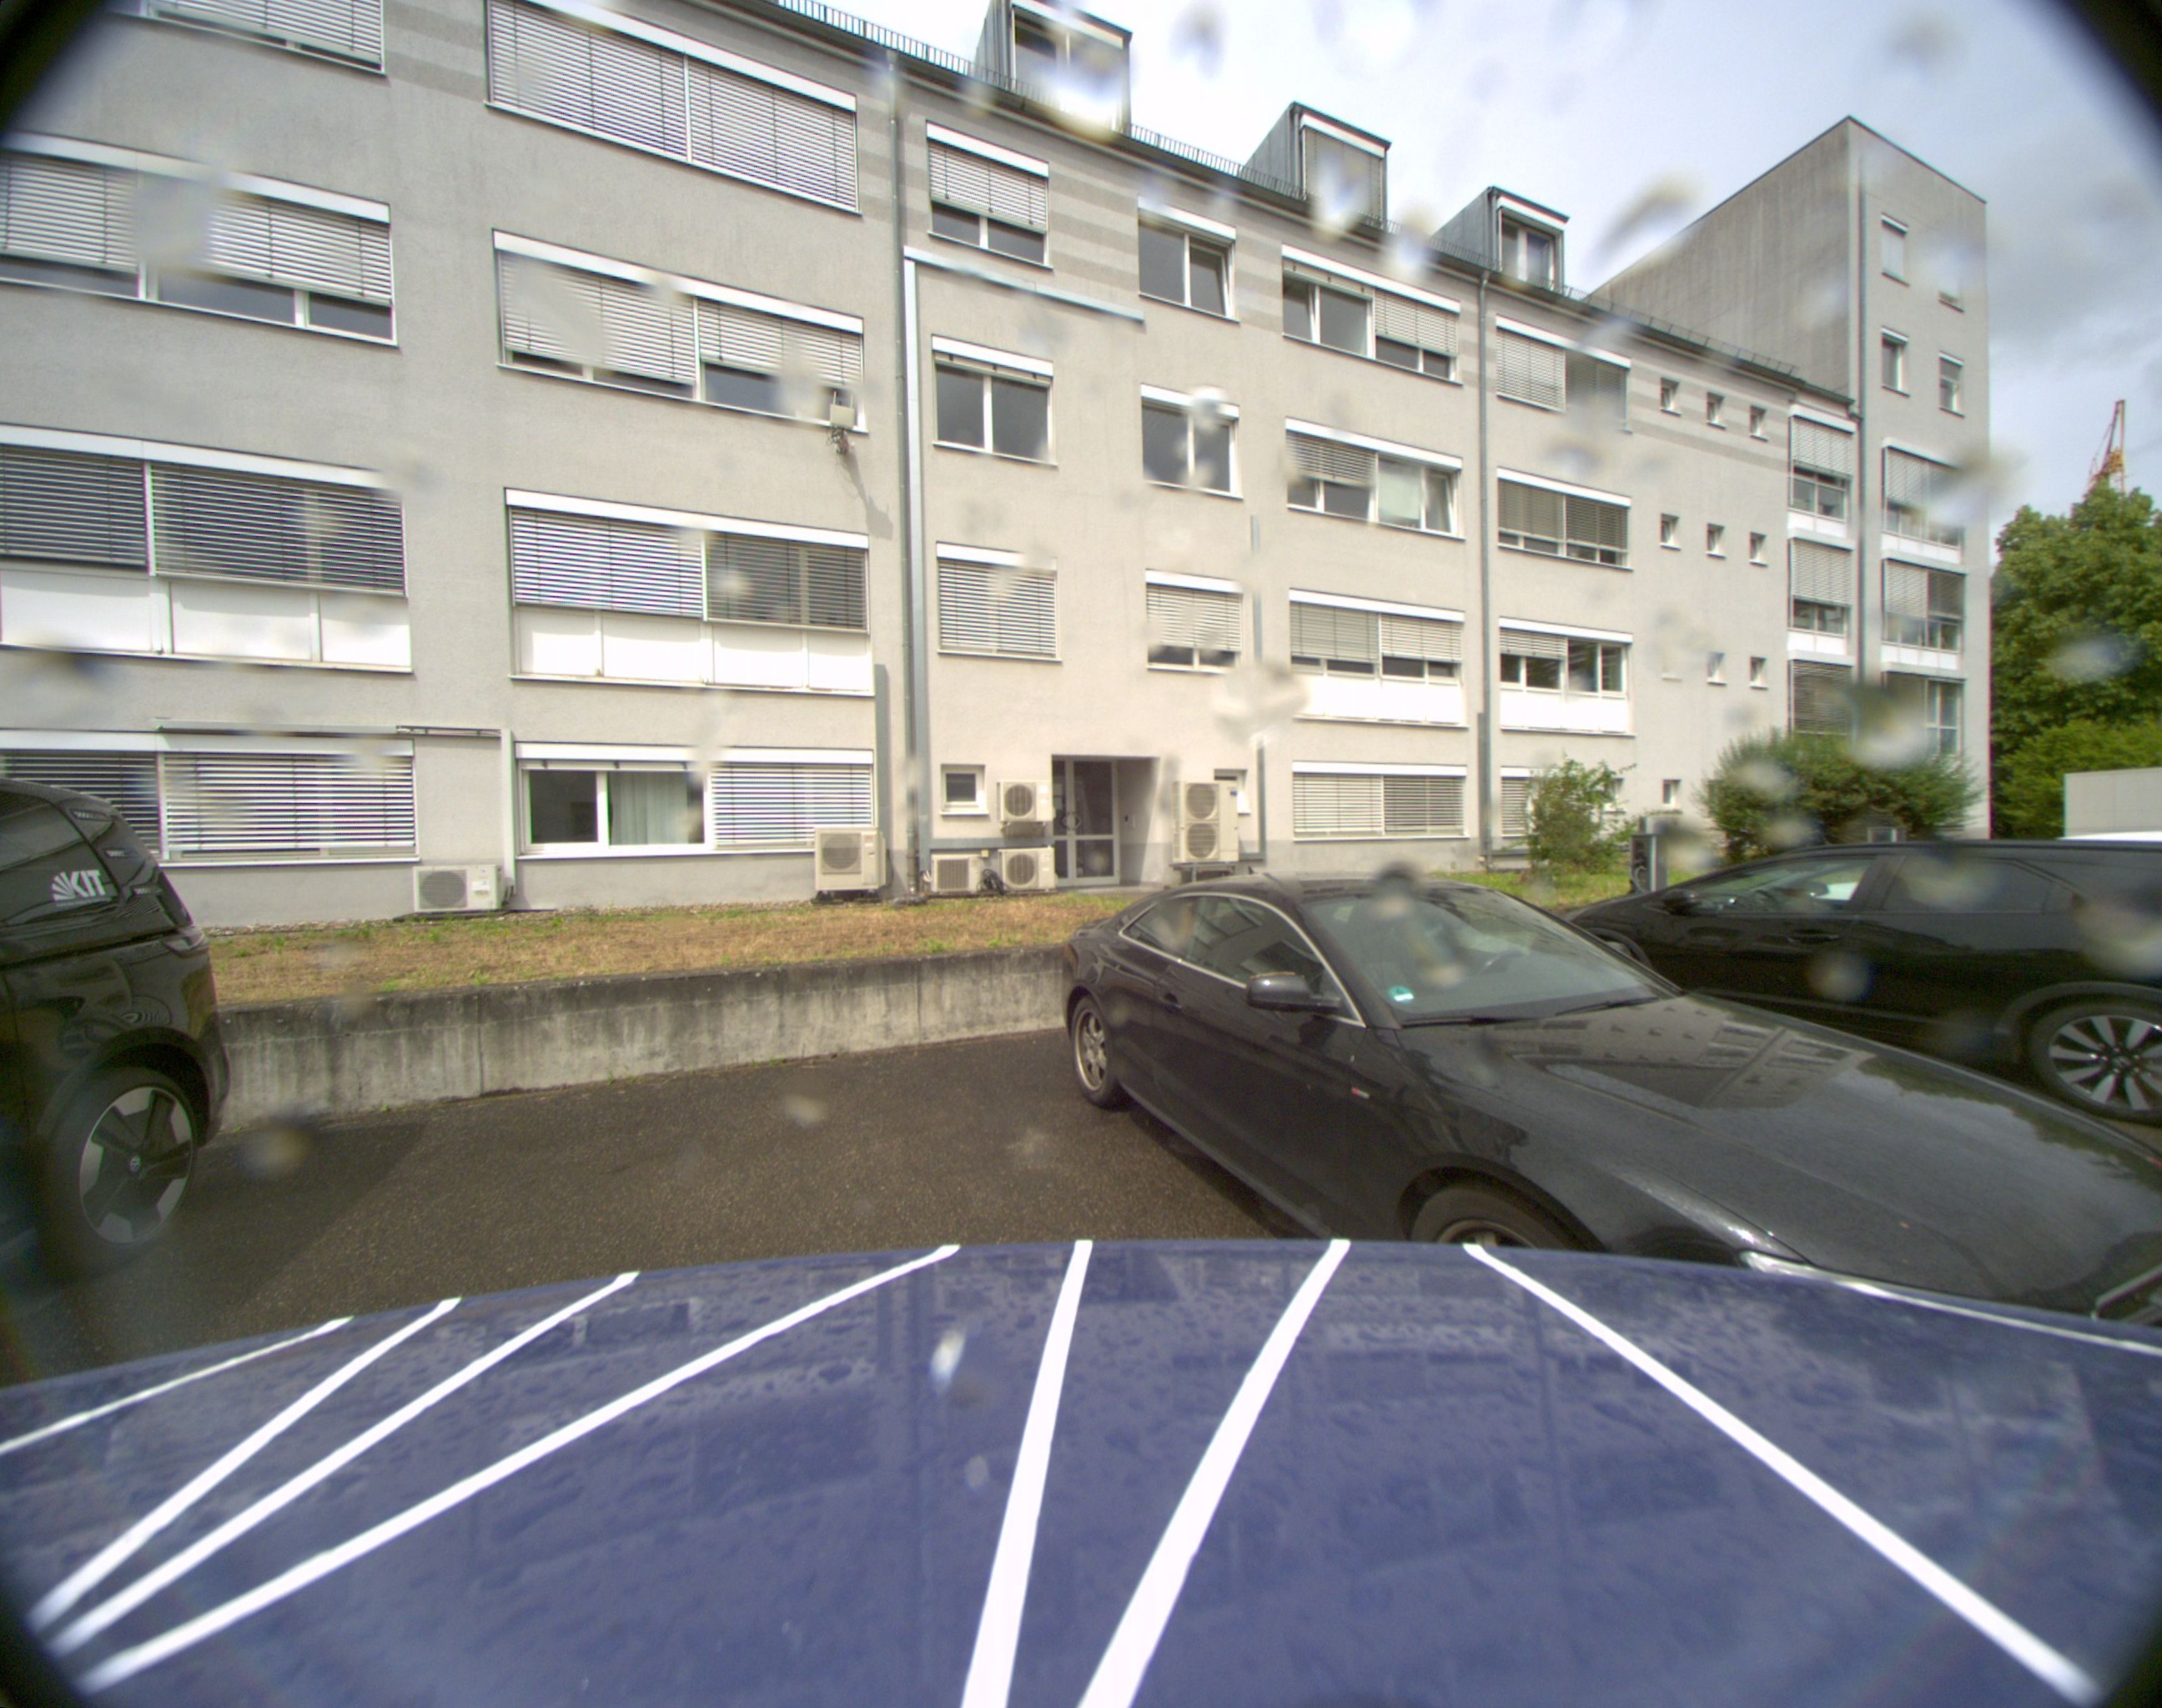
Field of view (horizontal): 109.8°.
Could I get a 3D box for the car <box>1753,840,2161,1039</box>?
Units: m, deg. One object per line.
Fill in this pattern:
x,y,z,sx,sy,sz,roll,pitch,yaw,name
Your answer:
8.730,0.635,6.518,1.698,1.435,4.117,-2,2,-21,car

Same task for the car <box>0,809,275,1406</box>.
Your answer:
-3.923,0.838,1.085,1.973,1.854,4.738,-2,2,-23,car

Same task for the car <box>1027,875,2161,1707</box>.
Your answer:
1.306,0.909,3.329,1.765,1.344,4.520,-2,2,-21,car

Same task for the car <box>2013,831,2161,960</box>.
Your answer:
13.597,0.488,8.085,1.765,1.435,4.307,-3,2,-22,car

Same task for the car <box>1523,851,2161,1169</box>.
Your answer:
5.584,0.759,5.134,1.765,1.435,4.306,-3,2,-23,car
